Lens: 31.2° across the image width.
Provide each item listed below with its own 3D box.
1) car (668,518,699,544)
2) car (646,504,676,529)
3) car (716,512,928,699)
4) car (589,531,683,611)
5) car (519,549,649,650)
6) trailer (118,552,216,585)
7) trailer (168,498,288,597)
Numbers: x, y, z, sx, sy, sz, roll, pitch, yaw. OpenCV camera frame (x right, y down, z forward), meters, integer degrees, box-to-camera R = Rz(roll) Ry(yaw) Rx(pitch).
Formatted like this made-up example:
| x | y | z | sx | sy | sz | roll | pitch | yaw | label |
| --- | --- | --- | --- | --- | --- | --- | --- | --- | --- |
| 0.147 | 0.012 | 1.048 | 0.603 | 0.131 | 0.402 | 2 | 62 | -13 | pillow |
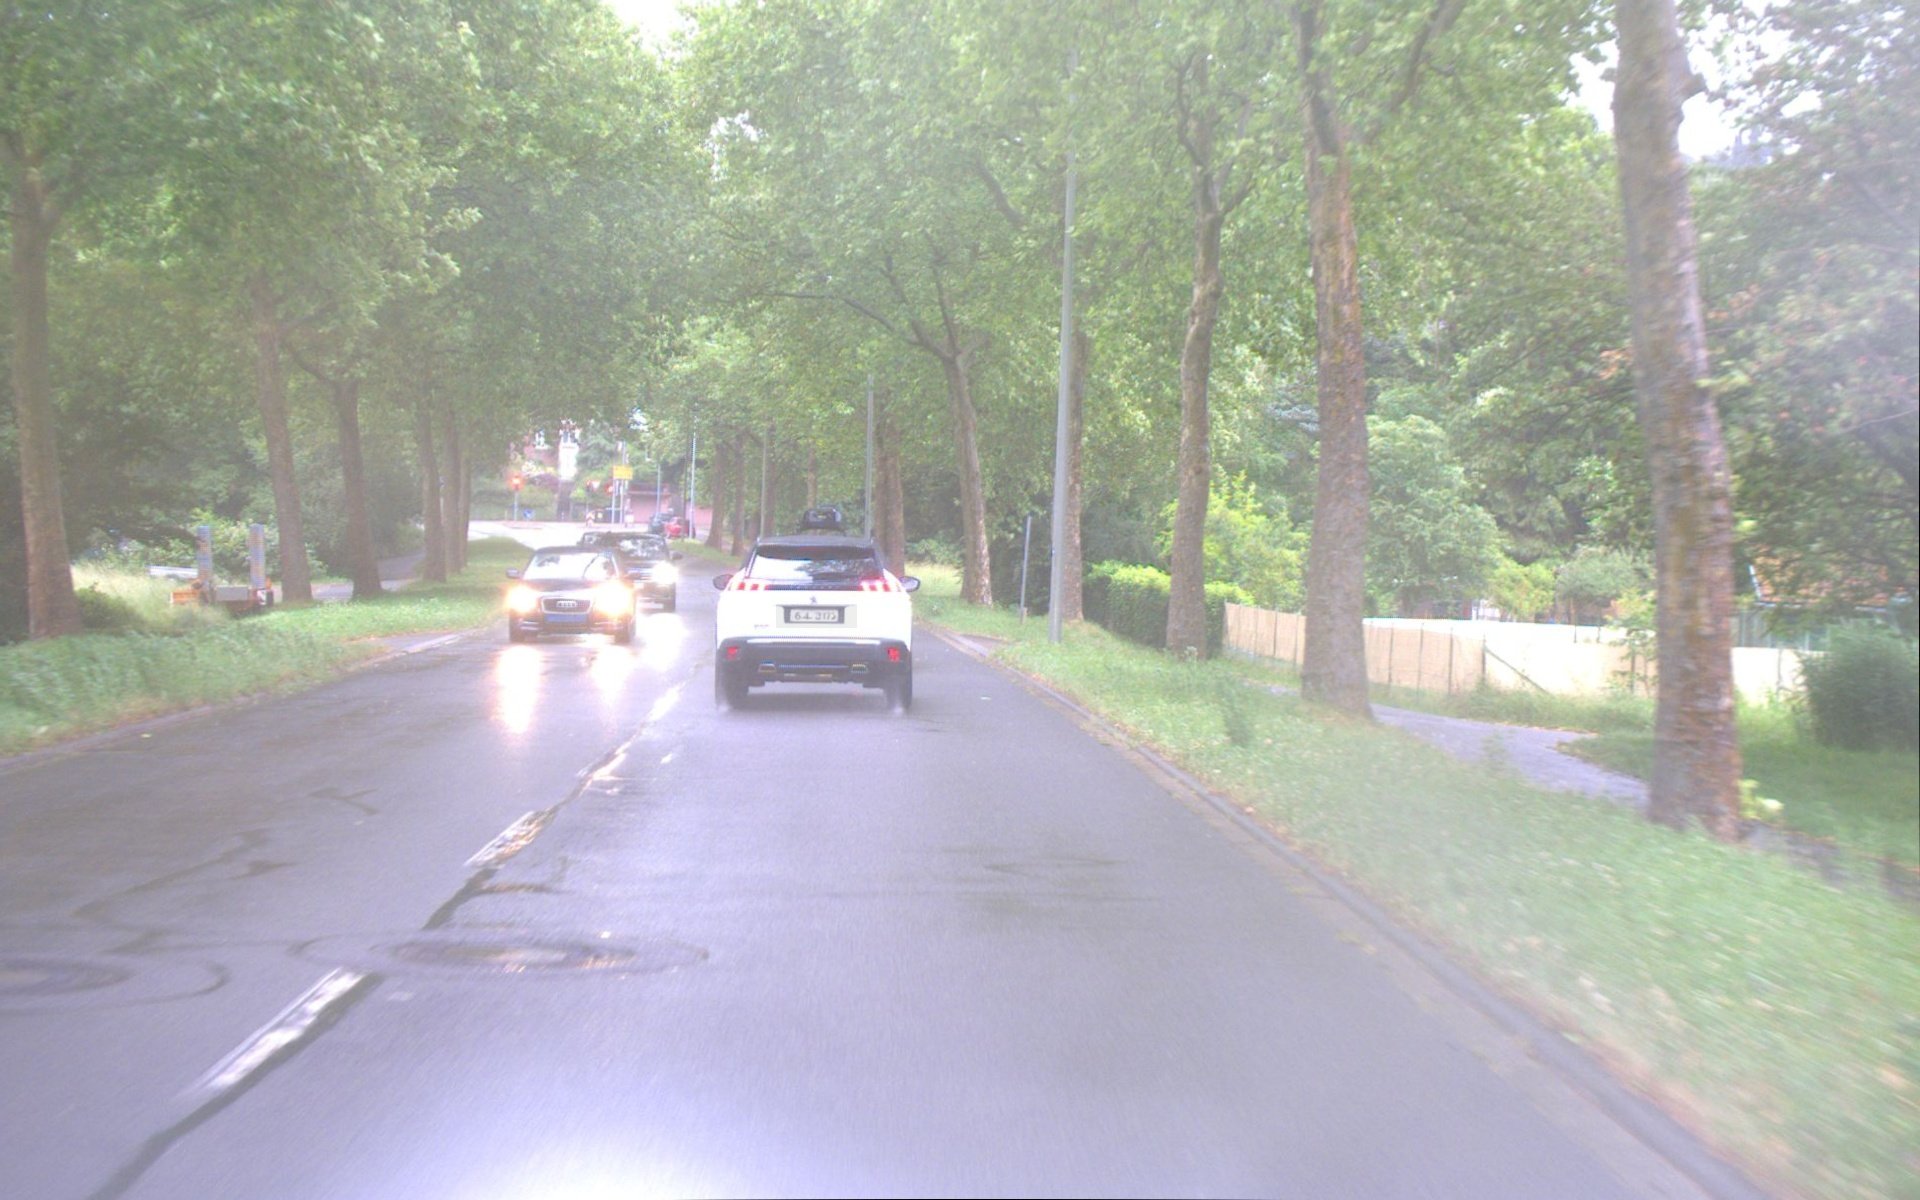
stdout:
| x | y | z | sx | sy | sz | roll | pitch | yaw | label |
| --- | --- | --- | --- | --- | --- | --- | --- | --- | --- |
| -17.786 | -4.448 | 221.561 | 1.827 | 1.590 | 3.654 | 2 | 1 | -3 | car |
| -20.111 | -5.579 | 231.056 | 1.827 | 1.590 | 3.654 | 2 | 1 | -3 | car |
| -1.286 | 0.004 | 31.819 | 1.793 | 1.573 | 3.845 | 2 | 1 | -3 | car |
| -6.810 | -0.624 | 72.572 | 1.731 | 1.582 | 4.311 | 2 | 1 | -3 | car |
| -5.577 | -0.040 | 51.363 | 1.731 | 1.419 | 4.226 | 0 | 1 | -4 | car |
| -29.904 | -1.183 | 129.677 | 3.552 | 1.174 | 1.823 | 0 | 1 | -12 | trailer |
| -19.981 | -1.446 | 94.066 | 2.484 | 2.558 | 5.333 | 2 | 1 | -5 | trailer |
